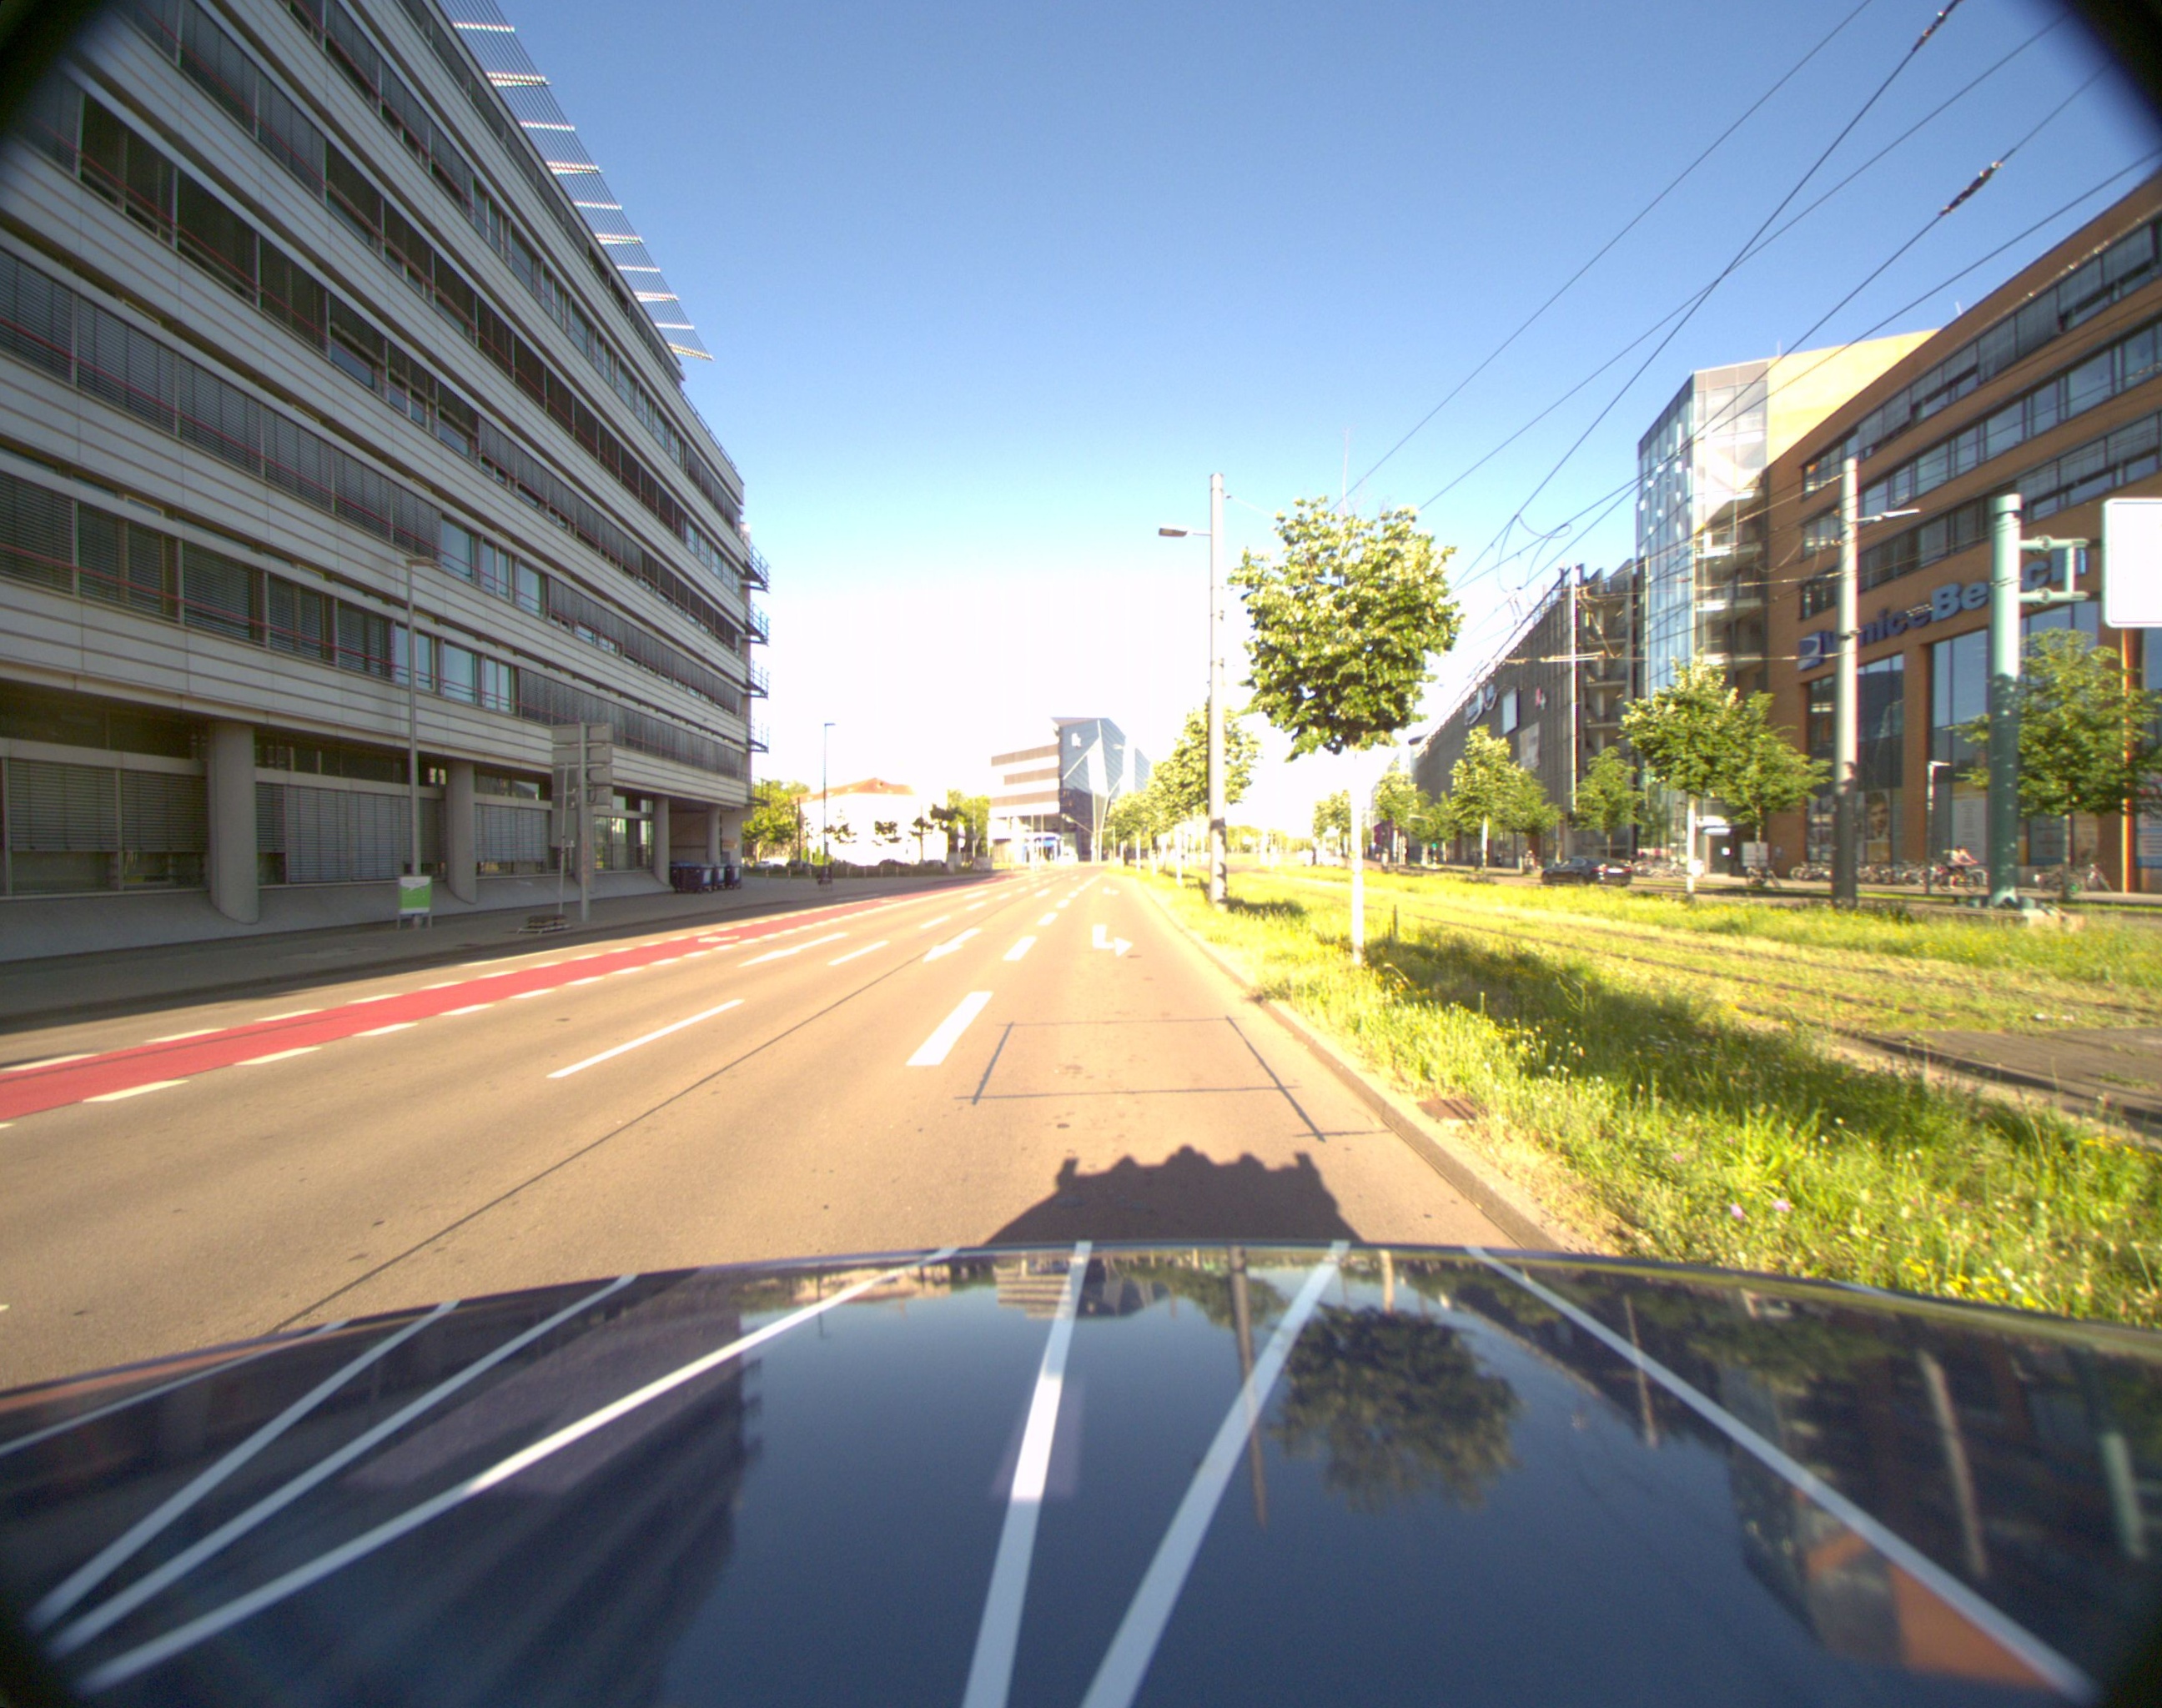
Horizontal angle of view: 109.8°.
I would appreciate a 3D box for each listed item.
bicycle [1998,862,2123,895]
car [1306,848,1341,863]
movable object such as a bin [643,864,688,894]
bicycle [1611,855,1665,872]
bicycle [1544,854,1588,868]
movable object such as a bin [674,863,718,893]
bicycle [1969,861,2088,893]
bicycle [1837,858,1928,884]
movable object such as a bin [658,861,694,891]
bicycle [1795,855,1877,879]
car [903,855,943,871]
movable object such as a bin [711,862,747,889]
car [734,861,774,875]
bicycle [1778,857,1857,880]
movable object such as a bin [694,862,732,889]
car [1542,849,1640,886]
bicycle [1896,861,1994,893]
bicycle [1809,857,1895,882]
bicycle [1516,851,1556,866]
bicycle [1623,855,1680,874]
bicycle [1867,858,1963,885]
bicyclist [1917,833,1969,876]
[{"bbox_3d":[33.289,0.816,25.870,2.687,1.097,0.897,0,0,11],"label":"bicycle"},{"bbox_3d":[26.550,0.158,83.218,1.679,1.519,4.350,0,0,-12],"label":"car"},{"bbox_3d":[-18.519,1.101,33.904,1.328,1.294,1.174,-1,1,1],"label":"movable object such as a bin"},{"bbox_3d":[35.594,0.598,48.571,2.687,1.097,0.897,0,0,11],"label":"bicycle"},{"bbox_3d":[36.864,0.541,57.795,2.687,1.097,0.897,0,0,11],"label":"bicycle"},{"bbox_3d":[-17.155,1.051,33.914,1.328,1.294,1.174,-1,1,1],"label":"movable object such as a bin"},{"bbox_3d":[33.488,0.822,26.898,2.687,1.097,0.897,0,0,11],"label":"bicycle"},{"bbox_3d":[34.576,0.719,32.811,2.687,1.097,0.897,0,0,11],"label":"bicycle"},{"bbox_3d":[-19.089,1.013,35.834,1.109,1.366,1.108,-1,1,1],"label":"movable object such as a bin"},{"bbox_3d":[35.421,0.603,35.673,2.687,1.097,0.897,0,0,11],"label":"bicycle"},{"bbox_3d":[-15.414,0.862,74.002,3.790,1.523,1.744,0,1,37],"label":"car"},{"bbox_3d":[-17.773,1.081,38.395,1.173,1.293,1.329,-1,1,1],"label":"movable object such as a bin"},{"bbox_3d":[-36.441,1.544,84.625,3.794,1.523,1.742,0,1,13],"label":"car"},{"bbox_3d":[35.662,0.686,36.834,2.687,1.097,0.897,0,0,11],"label":"bicycle"},{"bbox_3d":[-17.939,1.041,37.051,1.173,1.293,1.329,-1,1,1],"label":"movable object such as a bin"},{"bbox_3d":[22.383,0.550,33.545,1.625,1.519,4.357,0,0,4],"label":"car"},{"bbox_3d":[31.591,0.813,27.859,0.894,1.097,2.694,0,0,10],"label":"bicycle"},{"bbox_3d":[34.907,0.688,34.449,2.687,1.097,0.897,0,0,11],"label":"bicycle"},{"bbox_3d":[37.921,0.395,63.360,2.687,1.182,0.897,0,0,11],"label":"bicycle"},{"bbox_3d":[35.057,0.639,46.698,2.687,1.097,0.897,0,0,11],"label":"bicycle"},{"bbox_3d":[34.503,0.736,31.472,2.687,1.097,0.897,0,0,11],"label":"bicycle"},{"bbox_3d":[31.592,0.034,27.862,0.894,1.539,0.940,0,0,11],"label":"bicyclist"}]
